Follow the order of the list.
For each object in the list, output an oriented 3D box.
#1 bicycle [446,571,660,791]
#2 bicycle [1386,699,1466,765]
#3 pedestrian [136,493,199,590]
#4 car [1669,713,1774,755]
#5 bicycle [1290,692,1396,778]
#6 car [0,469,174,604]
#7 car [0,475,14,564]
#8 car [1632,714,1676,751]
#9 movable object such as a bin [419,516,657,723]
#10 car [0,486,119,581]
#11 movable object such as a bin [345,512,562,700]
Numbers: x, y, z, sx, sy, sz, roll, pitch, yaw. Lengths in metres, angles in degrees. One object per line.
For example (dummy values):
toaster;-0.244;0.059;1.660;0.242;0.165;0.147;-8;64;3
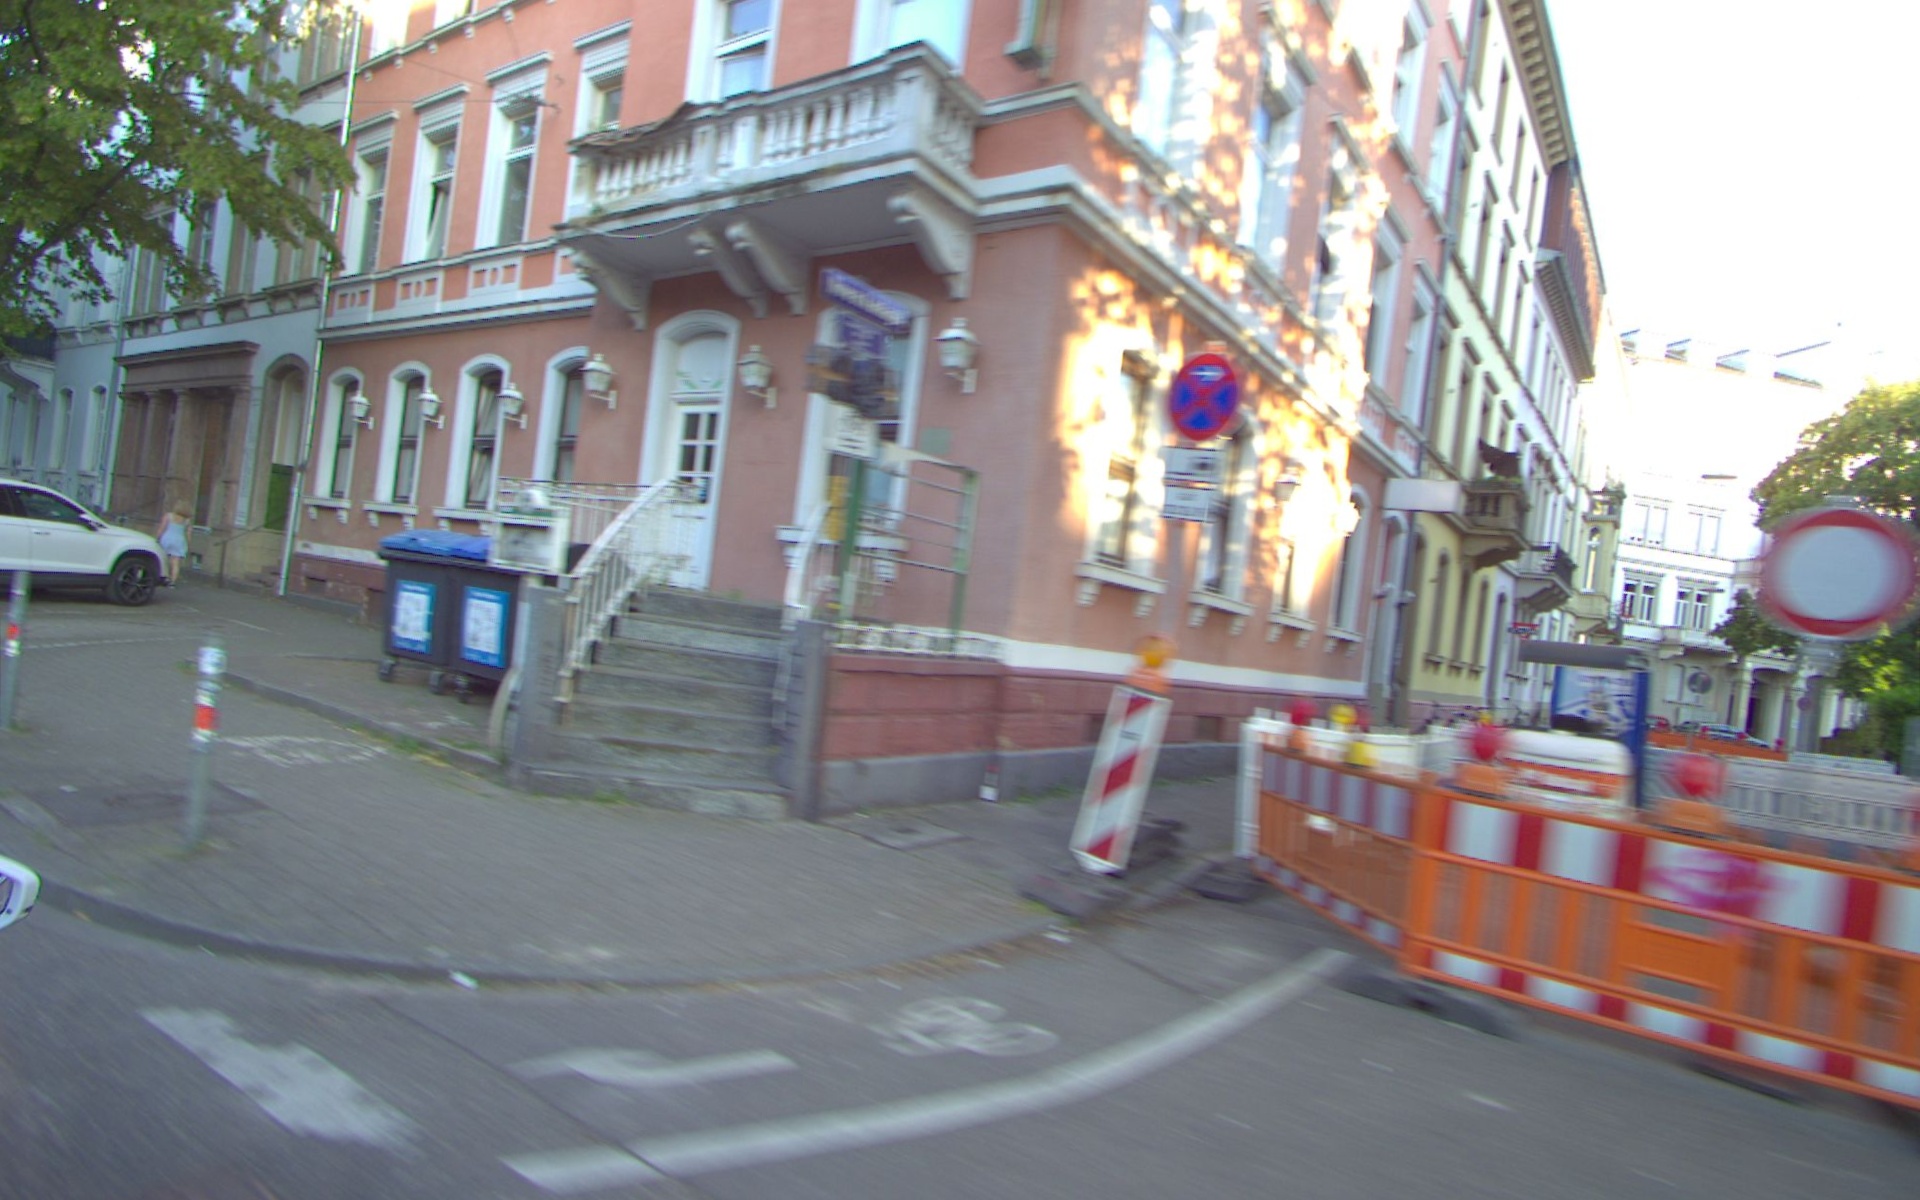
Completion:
bicycle;-2.779;0.509;7.117;0.590;1.281;1.918;7;0;0
bicycle;9.224;2.598;19.956;1.235;1.088;0.495;8;0;10
pedestrian;-14.213;-1.048;18.049;0.615;1.628;0.587;7;0;35
car;38.733;6.817;51.217;4.162;1.438;1.532;7;0;-3
bicycle;6.051;2.111;15.922;1.375;1.089;0.462;8;2;35
car;-12.577;-0.876;12.846;1.642;1.648;3.953;7;1;4
car;-19.090;-1.577;17.398;1.868;1.690;3.949;6;1;-6
car;33.147;6.305;48.094;1.509;1.437;3.688;7;-1;34
movable object such as a bin;-3.576;0.175;8.545;1.376;1.520;1.141;7;-1;34
car;-16.456;-1.167;16.564;1.797;1.496;3.952;7;1;0
movable object such as a bin;-4.711;0.062;9.373;1.376;1.520;1.141;7;-1;34
